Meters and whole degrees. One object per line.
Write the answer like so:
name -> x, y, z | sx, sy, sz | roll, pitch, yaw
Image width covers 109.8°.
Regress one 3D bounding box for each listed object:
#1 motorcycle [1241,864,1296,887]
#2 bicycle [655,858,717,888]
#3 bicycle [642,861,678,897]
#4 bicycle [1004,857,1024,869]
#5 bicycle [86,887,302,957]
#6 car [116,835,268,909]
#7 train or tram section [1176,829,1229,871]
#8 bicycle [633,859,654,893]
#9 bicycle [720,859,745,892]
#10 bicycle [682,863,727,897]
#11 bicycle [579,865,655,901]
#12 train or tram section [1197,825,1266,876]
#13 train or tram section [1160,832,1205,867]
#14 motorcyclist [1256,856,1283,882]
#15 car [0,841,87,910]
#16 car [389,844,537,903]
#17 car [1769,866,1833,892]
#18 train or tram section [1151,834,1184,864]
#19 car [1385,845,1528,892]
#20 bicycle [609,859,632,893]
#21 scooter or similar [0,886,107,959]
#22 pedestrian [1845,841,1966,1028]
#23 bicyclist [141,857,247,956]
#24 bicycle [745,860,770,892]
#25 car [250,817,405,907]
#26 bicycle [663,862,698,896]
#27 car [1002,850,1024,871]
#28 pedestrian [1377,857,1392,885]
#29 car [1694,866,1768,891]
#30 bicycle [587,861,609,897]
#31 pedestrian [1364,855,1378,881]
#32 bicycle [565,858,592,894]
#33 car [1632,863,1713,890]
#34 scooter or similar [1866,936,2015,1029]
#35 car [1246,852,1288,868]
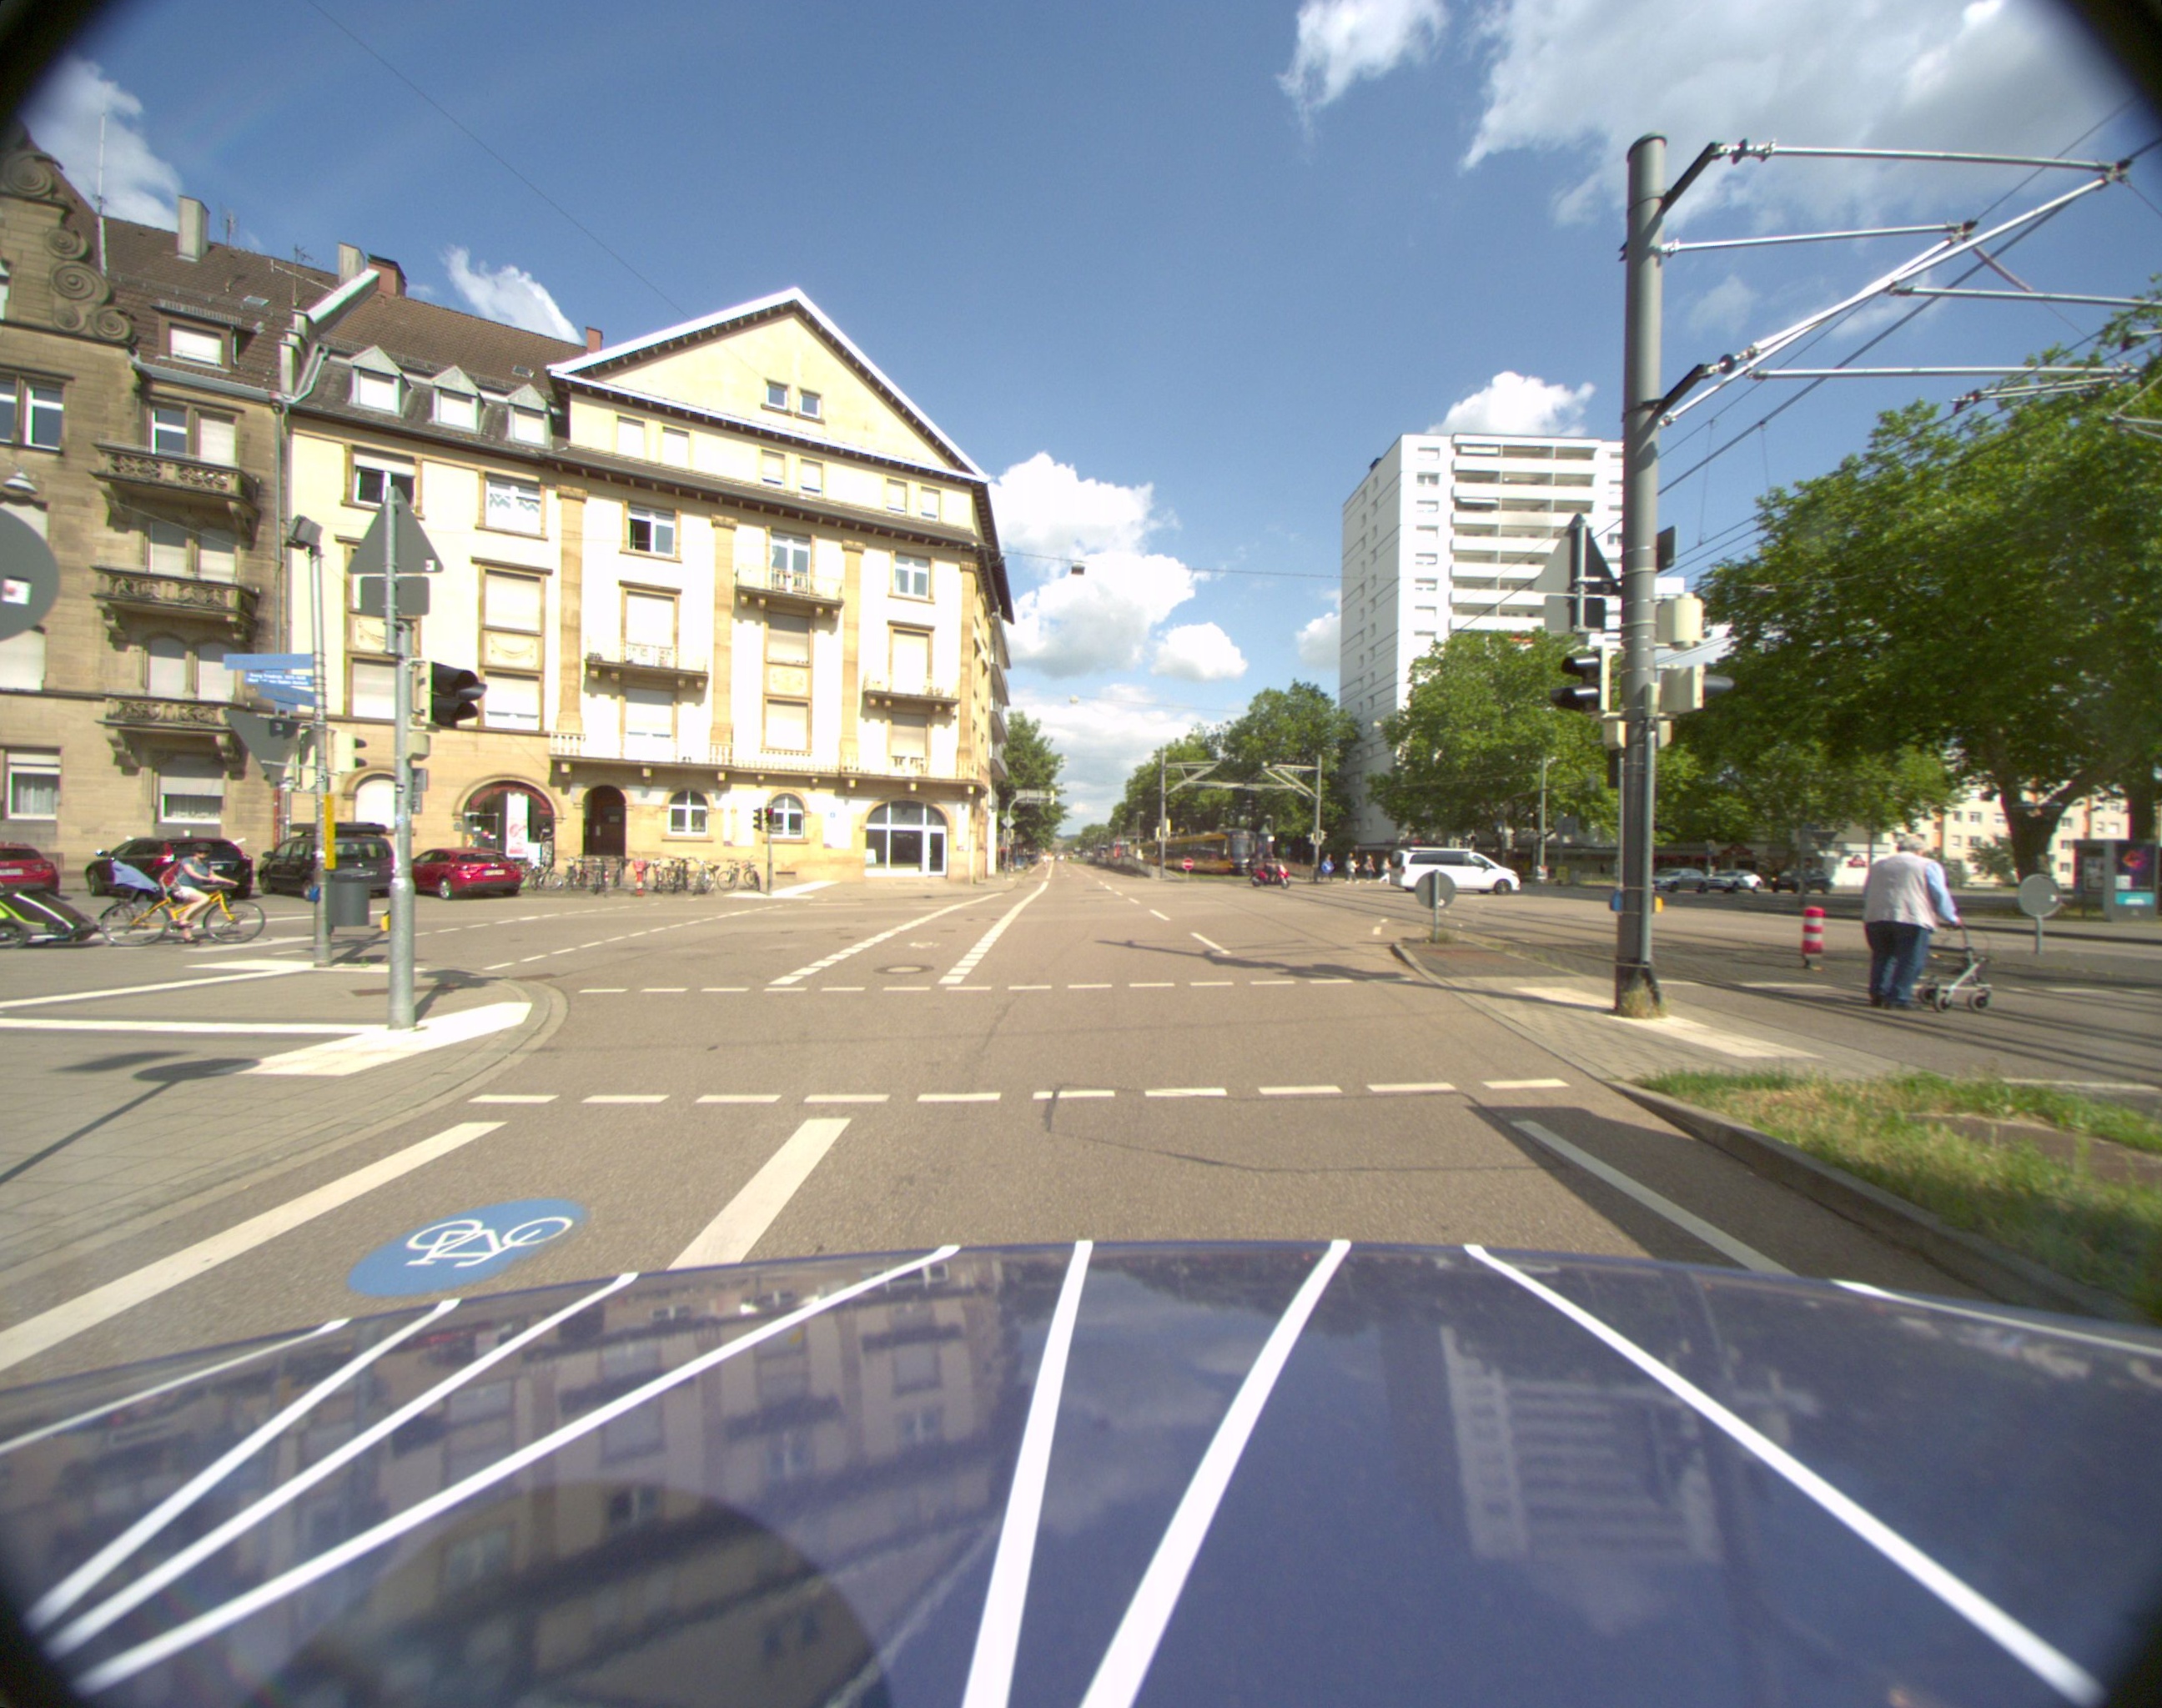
motorcycle -> 8.829, 1.007, 35.820 | 2.498, 0.971, 0.700 | 2, 1, 45
bicycle -> -14.123, 0.672, 27.192 | 1.931, 1.013, 0.539 | 1, 3, -23
bicycle -> -13.984, 0.810, 25.291 | 0.540, 1.013, 1.925 | 1, 3, -13
bicycle -> -5.722, 0.744, 65.086 | 1.694, 0.980, 0.497 | 1, 1, -4
bicycle -> -13.962, 1.049, 12.063 | 2.138, 0.983, 0.650 | 1, 0, -31
car -> -23.826, 0.412, 20.360 | 3.988, 1.659, 1.714 | 3, 3, 27
train or tram section -> 11.120, -0.364, 70.485 | 2.813, 3.540, 11.178 | 1, 1, -1
bicycle -> -15.032, 0.726, 26.148 | 0.541, 1.013, 1.923 | 0, 3, -27
bicycle -> -12.513, 0.758, 27.310 | 0.610, 1.013, 1.873 | 1, 3, -18
bicycle -> -12.708, 0.850, 25.683 | 0.602, 1.013, 1.876 | 2, 2, -1
bicycle -> -14.311, 0.878, 23.476 | 1.932, 1.013, 0.538 | -1, 4, -43
train or tram section -> 11.480, -0.315, 59.214 | 2.803, 3.540, 11.374 | 1, 0, -1
train or tram section -> 10.763, -0.506, 82.218 | 2.813, 3.540, 12.152 | 1, 0, -2
motorcyclist -> 8.879, 0.688, 35.768 | 0.974, 1.210, 0.700 | 2, 1, 44
car -> -27.029, 0.482, 18.804 | 3.990, 1.436, 1.919 | 3, 3, 22
car -> -18.557, 0.521, 22.805 | 3.988, 1.433, 1.971 | 3, 3, 27
car -> 48.166, 1.650, 50.852 | 4.005, 1.610, 1.687 | 1, 1, -24
train or tram section -> 10.464, -0.571, 92.719 | 2.774, 3.462, 8.904 | 1, 0, -2
car -> 16.222, 0.586, 33.086 | 5.164, 1.881, 2.001 | 1, 1, 9
bicycle -> -15.637, 0.728, 25.809 | 0.541, 1.013, 1.923 | 0, 3, -27
scooter or similar -> -15.294, 0.983, 11.054 | 1.133, 0.971, 0.888 | 1, 0, -31
pedestrian -> 7.895, 0.740, 7.296 | 0.528, 1.722, 0.557 | 0, 1, -7
bicyclist -> -14.018, 0.802, 12.038 | 0.923, 1.495, 0.650 | 0, 1, -31
bicycle -> -11.779, 0.774, 27.602 | 0.611, 1.013, 1.871 | 0, 3, -30
car -> -21.473, 0.159, 21.641 | 3.988, 2.071, 1.971 | 6, 4, 27
bicycle -> -13.492, 0.820, 25.646 | 0.540, 1.013, 1.925 | 1, 2, -13
car -> -6.415, 0.580, 72.255 | 1.852, 1.779, 3.998 | 3, 0, -3
pedestrian -> 18.614, 1.018, 46.607 | 0.671, 1.693, 0.648 | 1, 1, 1
car -> 40.789, 1.536, 47.683 | 4.081, 1.481, 1.857 | 1, 0, -23
bicycle -> -15.566, 0.778, 24.509 | 0.541, 1.013, 1.923 | 0, 3, -31
pedestrian -> 18.897, 0.898, 49.521 | 0.671, 1.693, 0.648 | 1, 1, 1
bicycle -> -16.521, 0.714, 25.015 | 0.541, 1.013, 1.923 | 0, 3, -27
car -> 34.953, 1.320, 44.914 | 4.004, 1.481, 1.858 | 1, 0, -19
scooter or similar -> 8.293, 1.223, 7.351 | 0.840, 0.799, 0.553 | 1, 1, -6
car -> 18.145, 0.597, 74.257 | 1.864, 1.481, 3.839 | 1, 0, -31
